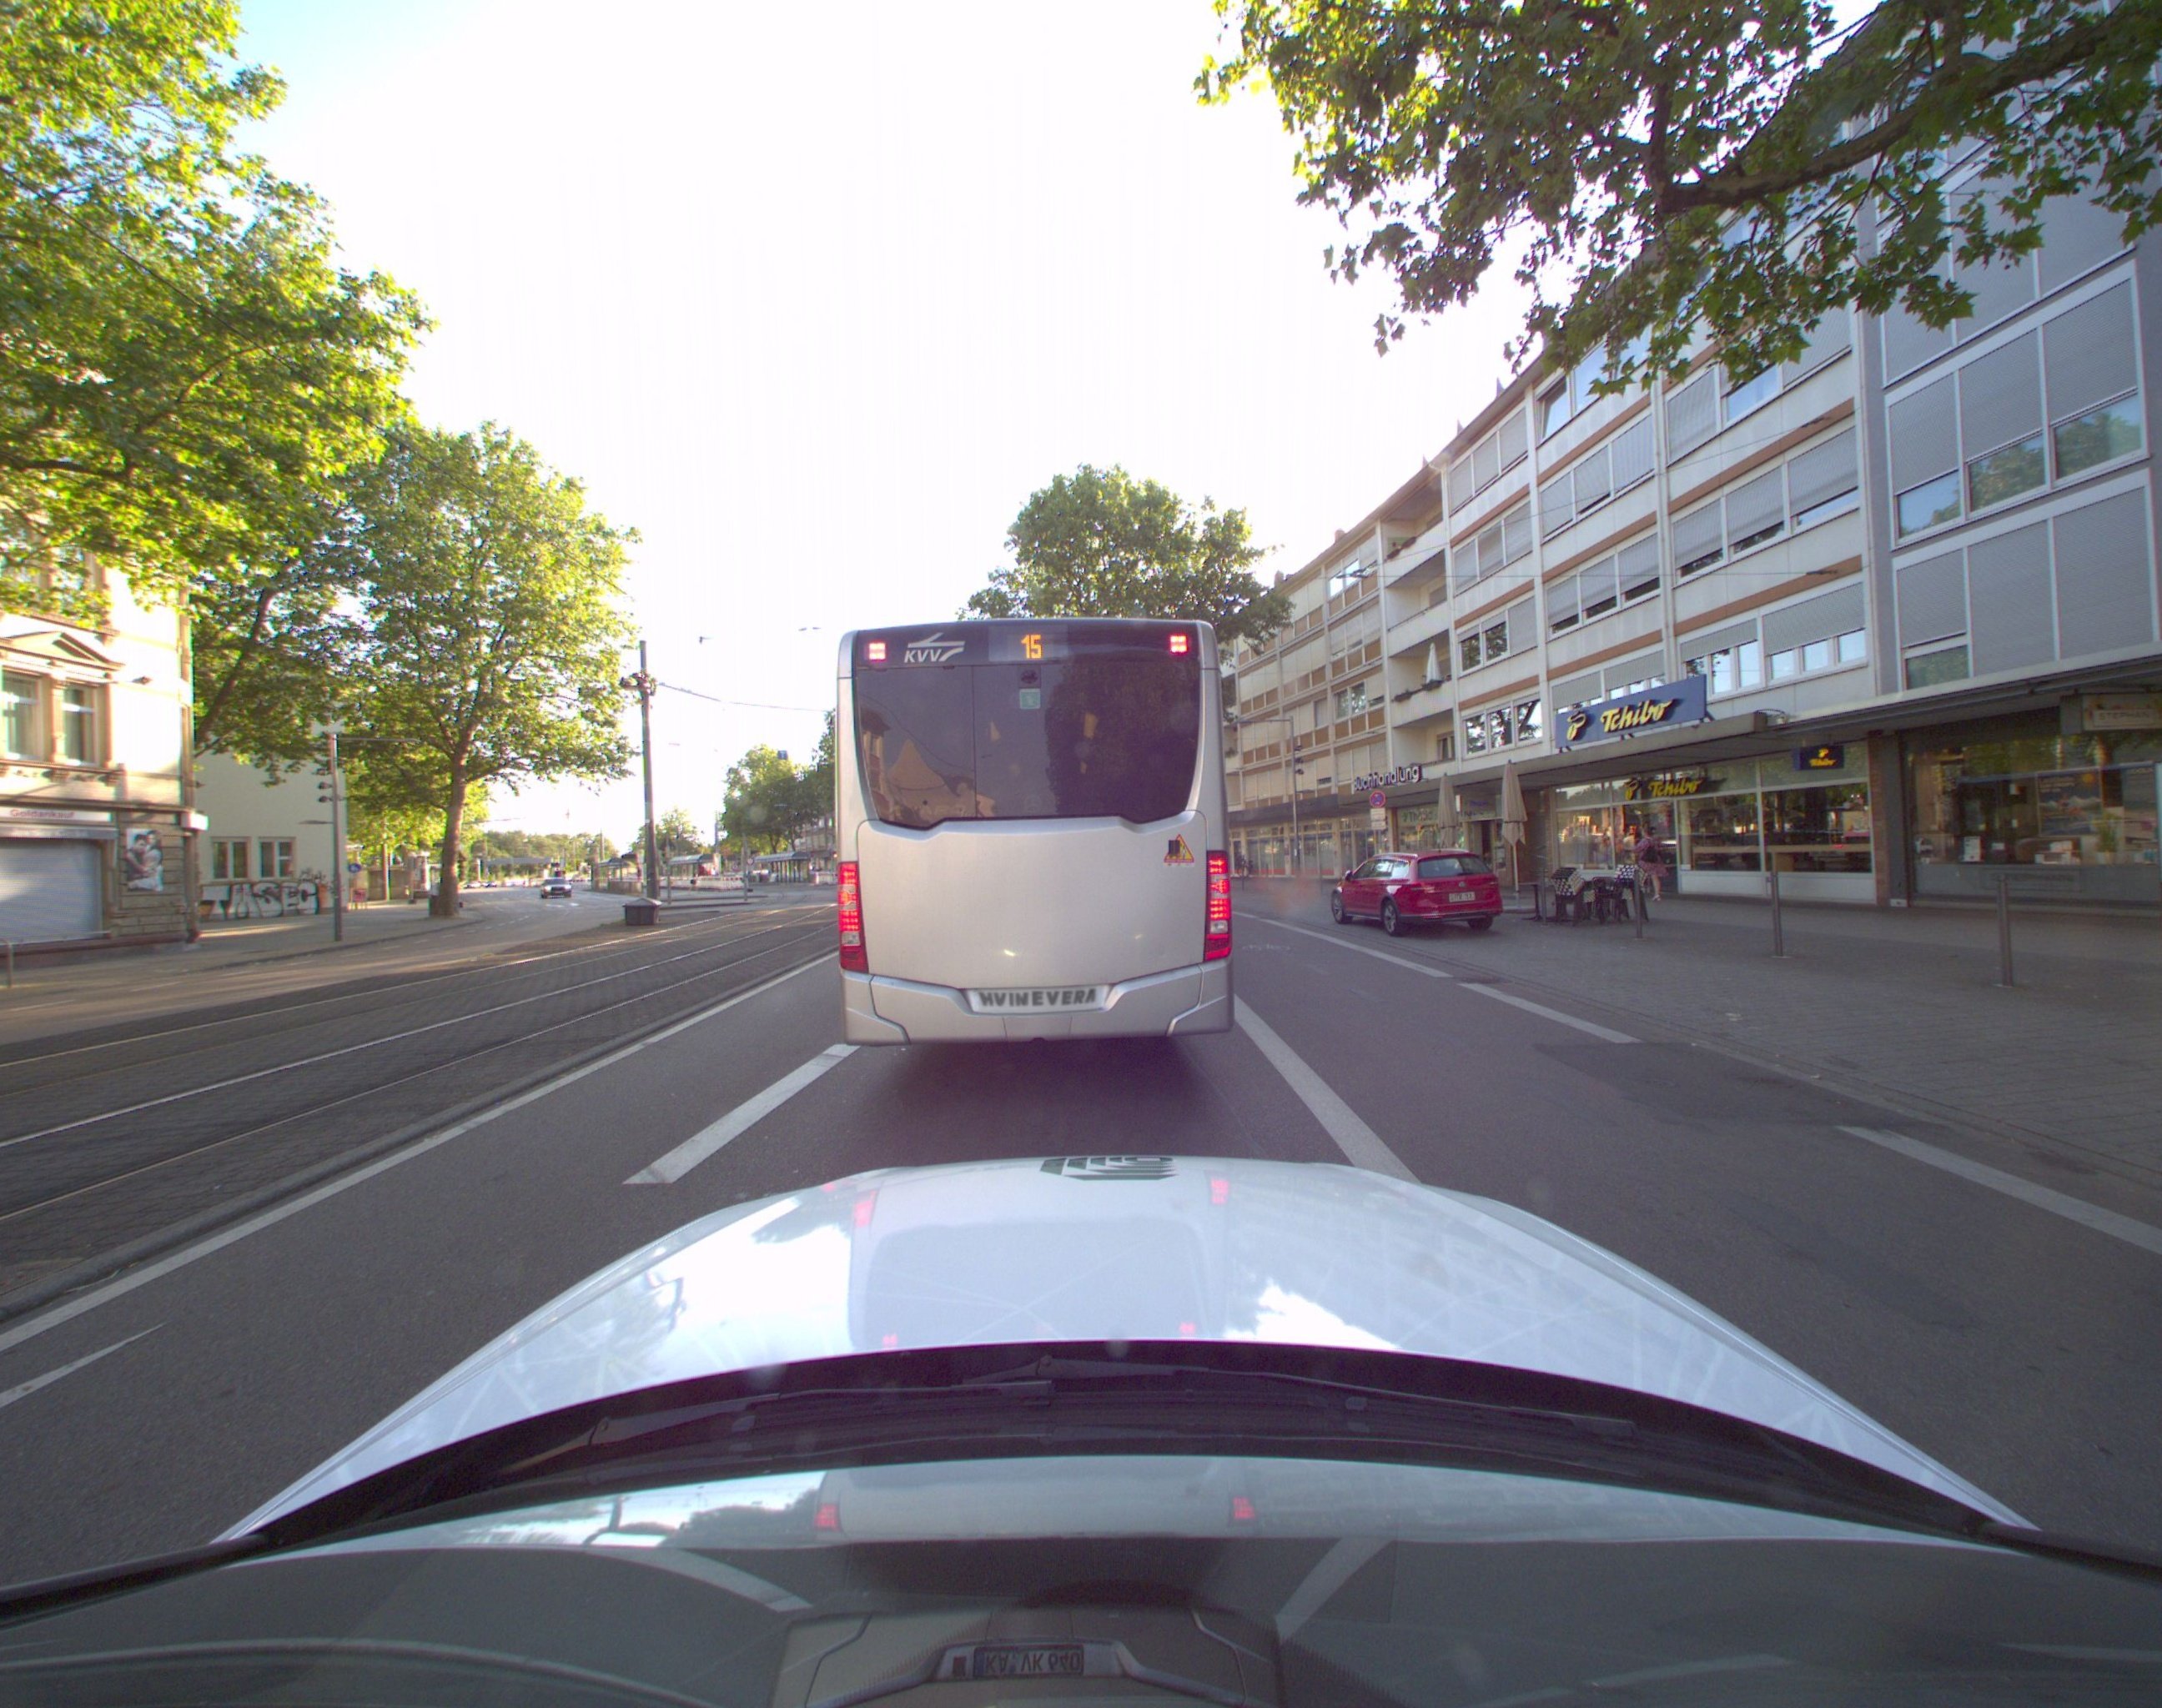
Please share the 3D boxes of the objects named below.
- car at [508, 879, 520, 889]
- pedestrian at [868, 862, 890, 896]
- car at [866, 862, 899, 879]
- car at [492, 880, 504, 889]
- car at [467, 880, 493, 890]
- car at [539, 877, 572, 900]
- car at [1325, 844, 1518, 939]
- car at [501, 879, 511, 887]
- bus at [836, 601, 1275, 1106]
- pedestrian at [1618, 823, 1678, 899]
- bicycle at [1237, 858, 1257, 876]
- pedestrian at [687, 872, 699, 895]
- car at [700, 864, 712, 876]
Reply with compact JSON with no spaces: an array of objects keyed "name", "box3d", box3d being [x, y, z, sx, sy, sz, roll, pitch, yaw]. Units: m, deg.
[{"name":"car","box3d":[-111.440,5.890,160.009,1.858,1.684,3.677,-4,1,-35]},{"name":"pedestrian","box3d":[-10.360,1.287,41.784,0.893,1.728,0.518,-2,-1,3]},{"name":"car","box3d":[-21.664,1.792,88.916,2.010,1.792,3.954,0,-1,-39]},{"name":"car","box3d":[-117.821,6.078,164.669,1.858,1.684,3.676,-2,-1,-35]},{"name":"car","box3d":[-122.660,6.315,166.133,1.768,1.640,4.024,-3,-1,44]},{"name":"car","box3d":[-40.055,2.608,62.061,2.008,1.640,3.958,-2,-1,-33]},{"name":"car","box3d":[6.368,0.639,15.836,1.765,1.482,4.300,-3,0,-2]},{"name":"car","box3d":[-130.084,6.463,184.189,1.858,1.684,3.676,-2,-1,-35]},{"name":"bus","box3d":[-0.141,0.016,9.952,2.622,3.028,9.995,-1,0,0]},{"name":"pedestrian","box3d":[12.445,0.155,17.892,0.649,1.592,0.788,-4,-1,-4]},{"name":"bicycle","box3d":[9.298,0.718,45.548,0.413,0.945,1.431,-2,-1,-18]},{"name":"pedestrian","box3d":[-28.383,2.152,59.557,0.661,1.656,0.438,-2,-1,-41]},{"name":"car","box3d":[-66.288,2.905,143.964,1.629,2.014,3.080,-2,-1,-32]}]
